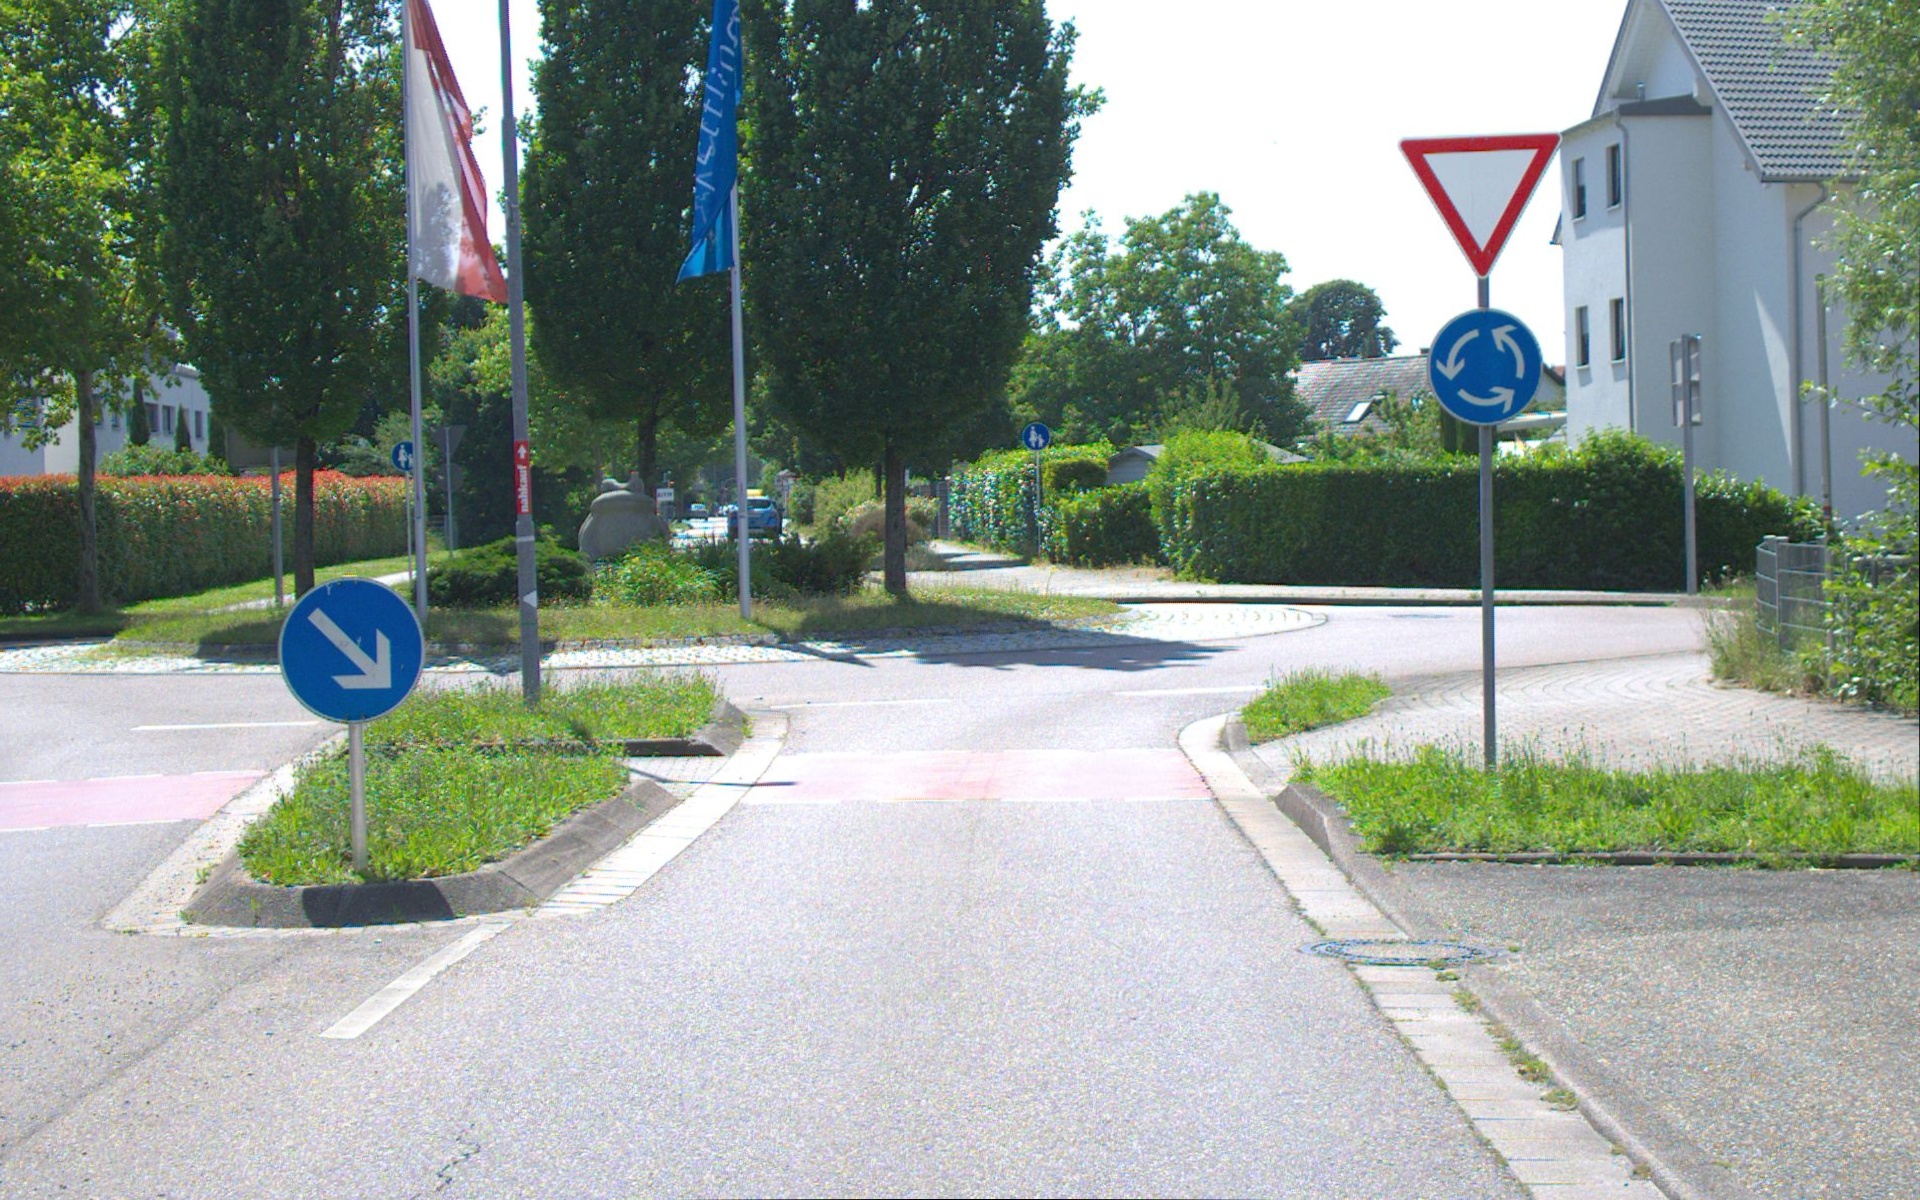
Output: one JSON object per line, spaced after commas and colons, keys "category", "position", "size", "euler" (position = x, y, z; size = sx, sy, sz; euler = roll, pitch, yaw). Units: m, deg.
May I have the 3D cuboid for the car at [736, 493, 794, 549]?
{"category": "car", "position": [-6.680, -2.680, 117.551], "size": [1.923, 1.879, 4.001], "euler": [0, 1, -4]}

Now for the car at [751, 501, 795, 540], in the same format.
{"category": "car", "position": [-8.612, -3.655, 158.639], "size": [1.993, 1.764, 4.001], "euler": [0, 1, -3]}
